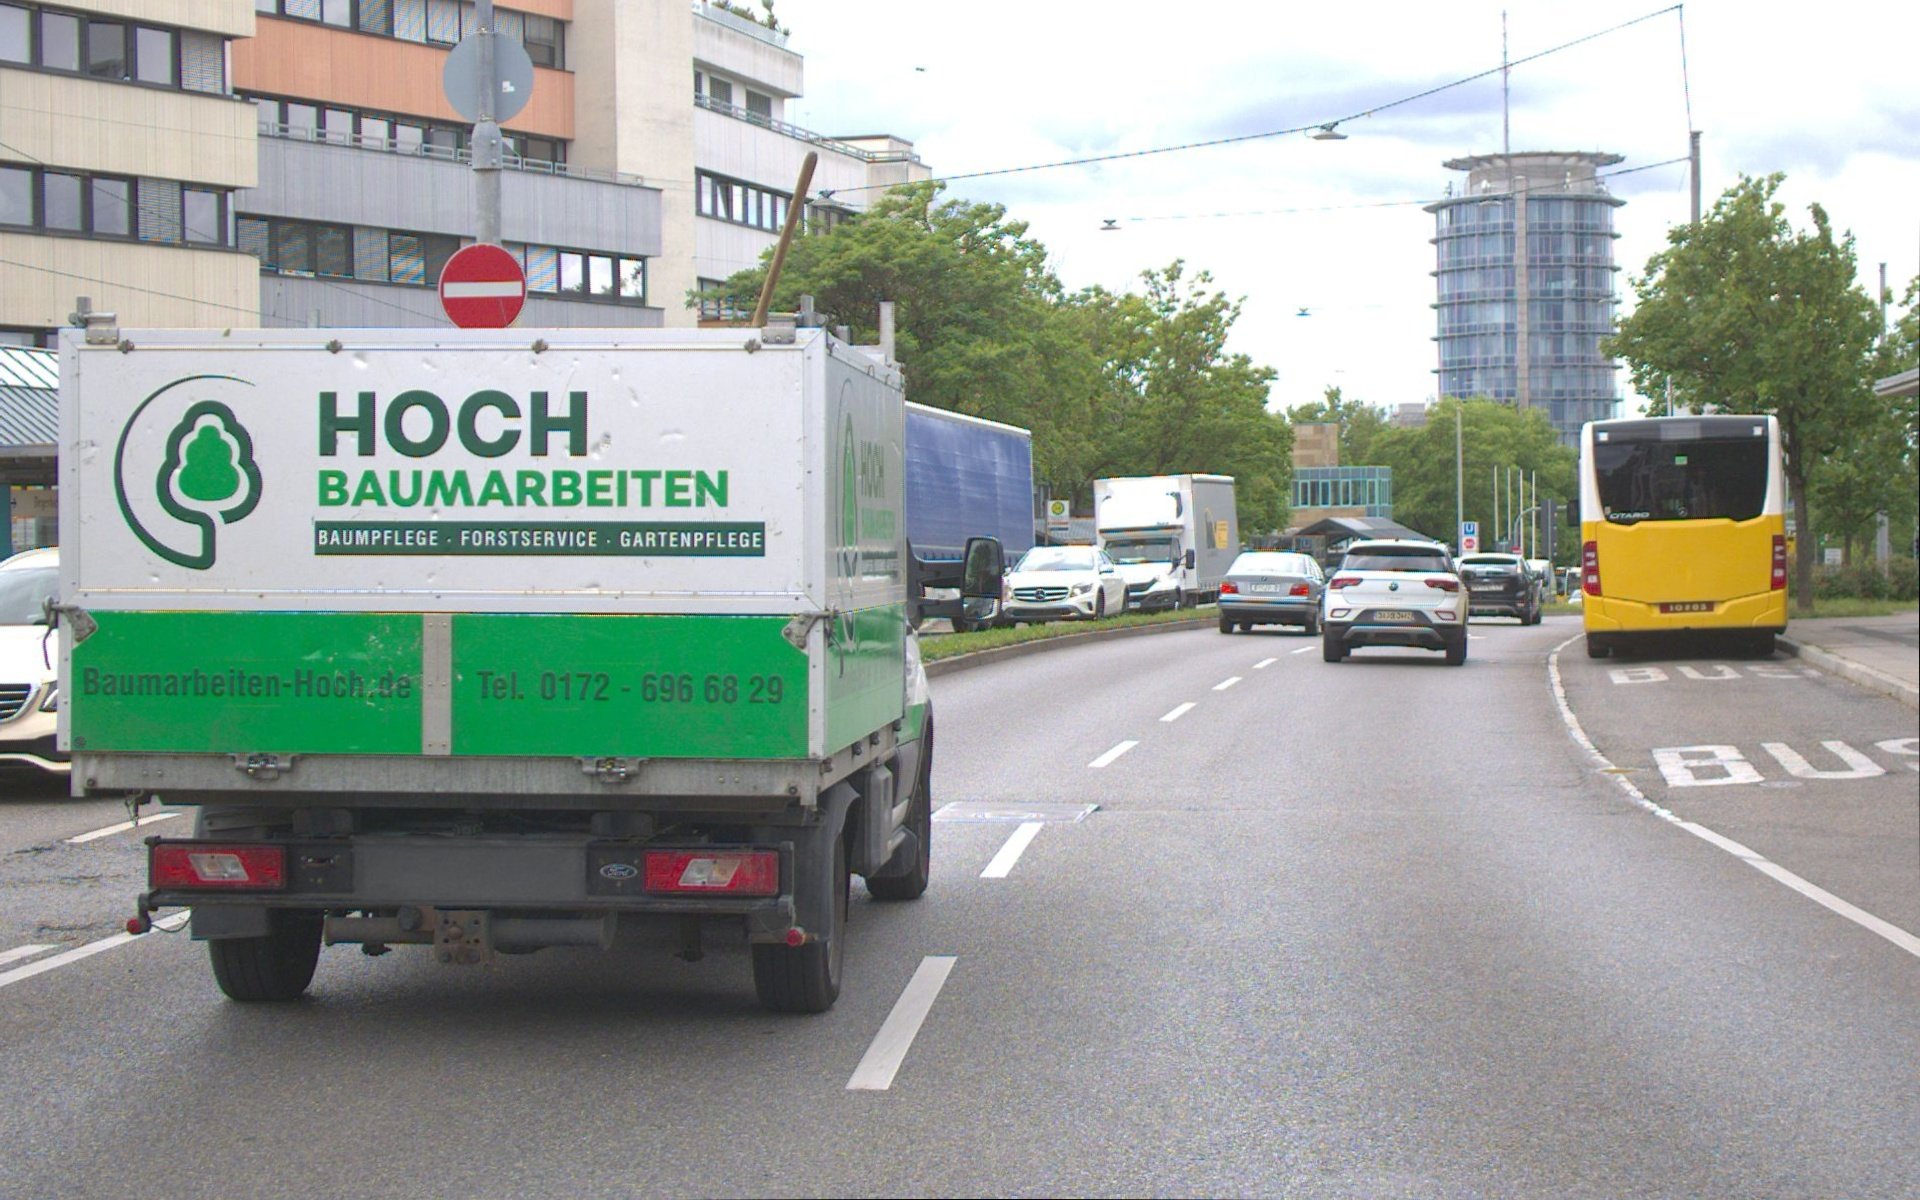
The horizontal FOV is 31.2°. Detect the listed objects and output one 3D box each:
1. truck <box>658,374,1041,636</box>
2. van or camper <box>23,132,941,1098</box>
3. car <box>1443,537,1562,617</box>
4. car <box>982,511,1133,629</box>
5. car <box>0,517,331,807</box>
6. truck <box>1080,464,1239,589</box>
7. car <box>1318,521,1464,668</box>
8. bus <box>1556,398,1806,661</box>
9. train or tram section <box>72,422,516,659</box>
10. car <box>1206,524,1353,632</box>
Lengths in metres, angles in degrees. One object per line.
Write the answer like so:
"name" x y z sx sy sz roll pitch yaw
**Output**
"truck" -1.550 -1.679 61.784 2.955 4.065 16.594 0 1 12
"van or camper" -1.357 -0.077 12.542 2.343 2.652 5.965 1 2 2
"car" 11.360 -0.505 71.822 1.702 1.510 3.490 1 3 22
"car" 1.783 -0.562 60.830 1.994 2.007 5.195 0 1 9
"car" -5.559 0.335 21.653 1.898 1.612 4.832 0 0 5
"truck" 5.225 -1.878 88.257 3.084 3.018 9.355 0 1 10
"car" 5.572 -0.107 44.181 1.700 1.542 3.736 3 4 8
"bus" 9.894 -0.980 47.570 2.955 3.179 9.924 -1 1 11
"train or tram section" -10.443 -0.961 55.976 2.560 3.399 13.077 0 1 10
"car" 5.400 -0.397 57.829 1.701 1.510 3.734 1 5 18
